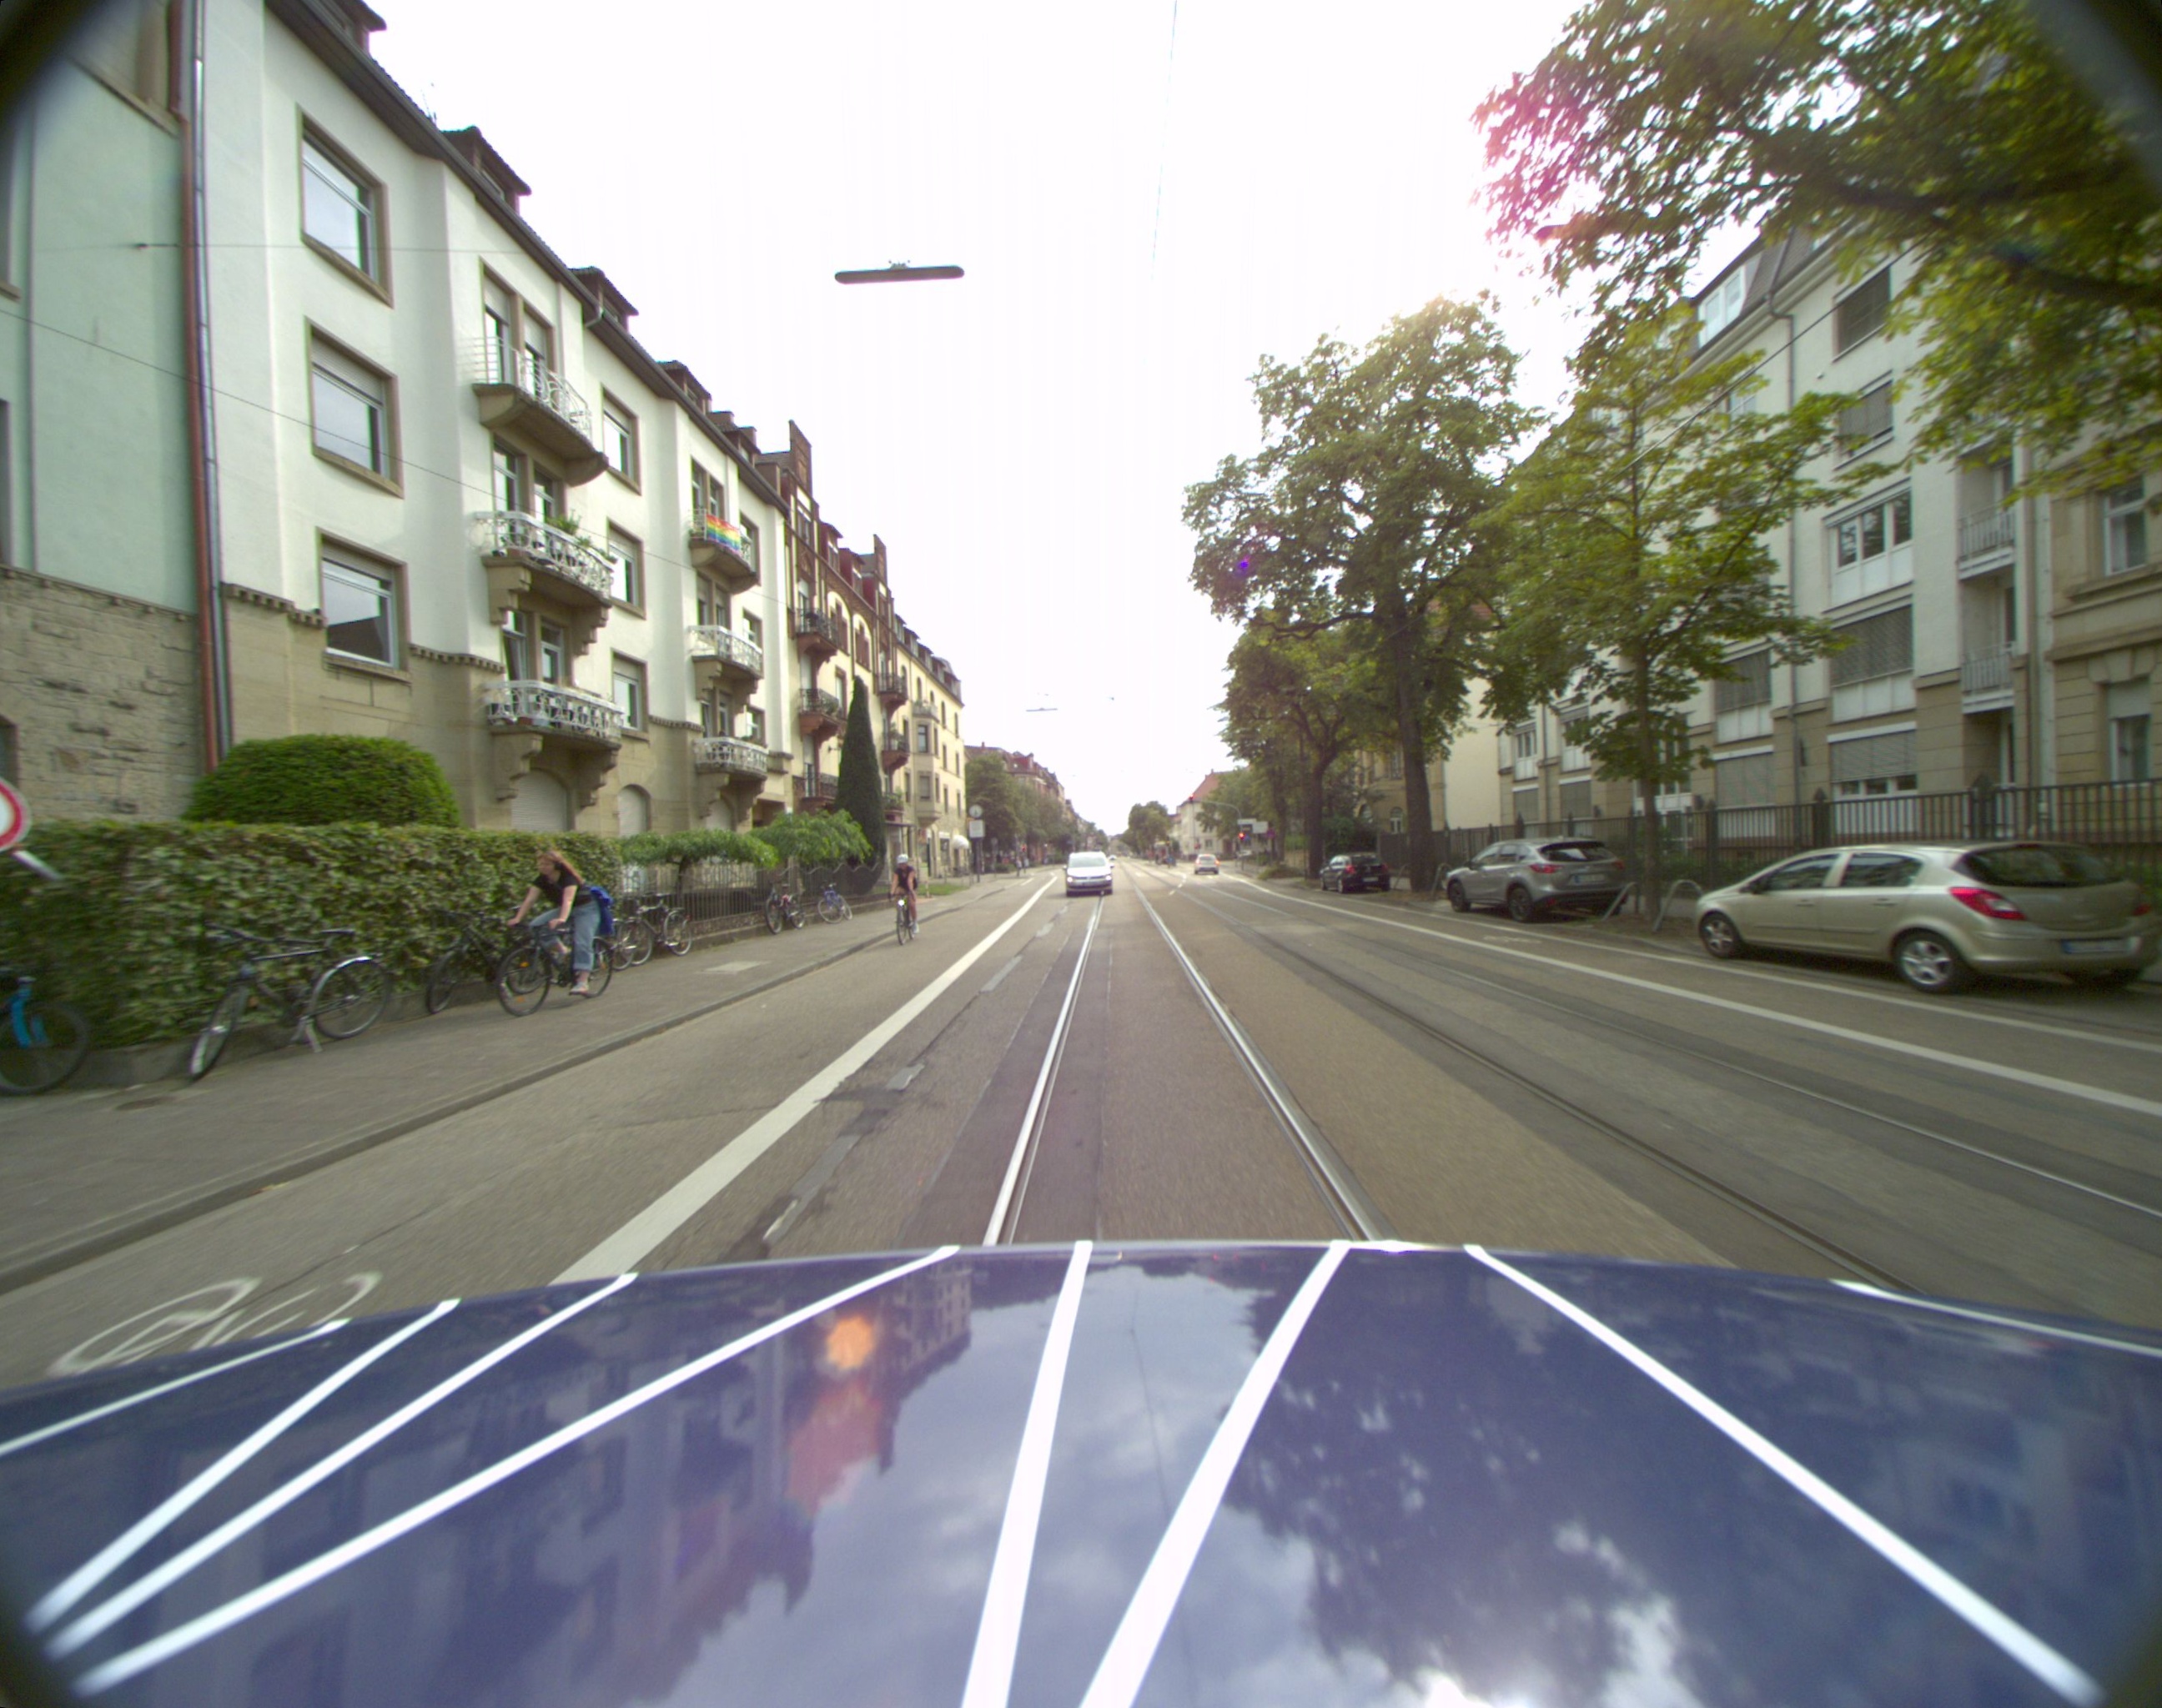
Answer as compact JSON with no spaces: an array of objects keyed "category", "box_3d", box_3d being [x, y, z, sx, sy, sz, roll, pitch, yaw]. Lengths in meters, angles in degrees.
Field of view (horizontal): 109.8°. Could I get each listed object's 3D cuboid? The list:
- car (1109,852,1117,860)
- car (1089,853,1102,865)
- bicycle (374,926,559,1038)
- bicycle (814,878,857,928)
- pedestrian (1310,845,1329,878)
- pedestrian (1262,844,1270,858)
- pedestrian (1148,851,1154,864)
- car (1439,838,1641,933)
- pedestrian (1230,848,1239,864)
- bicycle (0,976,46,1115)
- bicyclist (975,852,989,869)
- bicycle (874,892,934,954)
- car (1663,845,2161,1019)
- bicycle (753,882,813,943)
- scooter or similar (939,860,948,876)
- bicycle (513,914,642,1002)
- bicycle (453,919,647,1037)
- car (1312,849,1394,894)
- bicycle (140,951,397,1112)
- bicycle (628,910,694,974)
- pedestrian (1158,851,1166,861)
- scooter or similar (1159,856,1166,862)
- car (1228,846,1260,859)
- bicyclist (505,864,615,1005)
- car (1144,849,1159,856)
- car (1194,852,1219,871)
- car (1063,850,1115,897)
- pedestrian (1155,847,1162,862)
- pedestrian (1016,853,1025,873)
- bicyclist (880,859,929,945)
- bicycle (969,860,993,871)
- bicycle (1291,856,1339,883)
[{"category":"car","box_3d":[8.703,0.497,206.714,1.998,2.002,4.001,-3,0,4]},{"category":"car","box_3d":[2.770,0.943,144.526,1.997,2.002,4.002,-3,0,8]},{"category":"bicycle","box_3d":[-6.511,1.320,8.176,0.486,0.902,1.665,-1,1,6]},{"category":"bicycle","box_3d":[-6.009,1.180,18.692,0.392,1.096,1.759,-1,0,3]},{"category":"pedestrian","box_3d":[12.831,0.400,40.859,0.707,1.725,0.701,-3,1,-2]},{"category":"pedestrian","box_3d":[27.196,-0.510,111.624,0.862,2.002,0.765,-3,1,37]},{"category":"pedestrian","box_3d":[10.106,0.478,109.978,0.658,1.824,0.464,-3,1,-11]},{"category":"car","box_3d":[9.399,0.570,16.051,1.714,1.664,4.357,-3,0,2]},{"category":"pedestrian","box_3d":[16.143,0.203,79.955,0.654,1.680,0.712,-2,1,-1]},{"category":"bicycle","box_3d":[-8.097,1.319,5.208,1.662,0.902,0.487,-1,1,11]},{"category":"bicyclist","box_3d":[-10.401,0.701,79.512,0.841,1.680,1.243,-2,0,-41]},{"category":"bicycle","box_3d":[-3.352,1.282,14.574,0.640,0.975,2.071,-1,0,0]},{"category":"car","box_3d":[8.961,0.673,8.650,1.604,1.459,4.079,-3,0,2]},{"category":"bicycle","box_3d":[-6.232,1.191,15.984,0.392,1.135,1.921,-1,0,3]},{"category":"scooter or similar","box_3d":[-10.303,1.072,57.042,0.398,1.161,1.197,0,0,3]},{"category":"bicycle","box_3d":[-6.529,1.320,9.964,0.487,0.902,1.665,-1,1,3]},{"category":"bicycle","box_3d":[-5.677,1.273,8.311,0.690,0.957,2.036,0,0,0]},{"category":"car","box_3d":[9.991,0.607,28.249,1.724,1.416,4.167,-4,0,4]},{"category":"bicycle","box_3d":[-6.552,1.373,6.264,0.487,0.902,1.663,-1,1,-9]},{"category":"bicycle","box_3d":[-6.484,1.340,11.776,0.278,0.847,1.198,-1,1,3]},{"category":"pedestrian","box_3d":[10.578,0.299,99.290,1.032,1.229,0.724,-3,1,1]},{"category":"scooter or similar","box_3d":[9.380,0.548,87.594,0.669,0.708,0.604,1,2,34]},{"category":"car","box_3d":[24.931,-0.239,116.260,4.188,1.854,1.857,-3,0,37]},{"category":"bicyclist","box_3d":[-5.669,0.845,8.310,0.649,1.461,0.800,0,1,0]},{"category":"car","box_3d":[19.176,-0.399,207.699,3.995,1.716,1.877,-3,0,5]},{"category":"car","box_3d":[9.256,0.537,56.193,1.574,1.408,4.002,0,0,6]},{"category":"car","box_3d":[0.399,0.706,30.379,1.766,1.661,4.330,-4,0,3]},{"category":"pedestrian","box_3d":[8.977,0.080,88.335,0.684,1.680,0.815,-2,0,2]},{"category":"pedestrian","box_3d":[-5.219,0.792,65.812,0.721,1.651,0.759,2,1,-1]},{"category":"bicyclist","box_3d":[-3.360,0.898,14.558,0.640,1.561,1.110,-1,1,0]},{"category":"bicycle","box_3d":[-10.486,1.189,79.610,0.888,1.039,3.089,-2,0,-42]},{"category":"bicycle","box_3d":[11.189,0.723,36.284,2.239,1.168,0.833,-3,1,-30]}]
